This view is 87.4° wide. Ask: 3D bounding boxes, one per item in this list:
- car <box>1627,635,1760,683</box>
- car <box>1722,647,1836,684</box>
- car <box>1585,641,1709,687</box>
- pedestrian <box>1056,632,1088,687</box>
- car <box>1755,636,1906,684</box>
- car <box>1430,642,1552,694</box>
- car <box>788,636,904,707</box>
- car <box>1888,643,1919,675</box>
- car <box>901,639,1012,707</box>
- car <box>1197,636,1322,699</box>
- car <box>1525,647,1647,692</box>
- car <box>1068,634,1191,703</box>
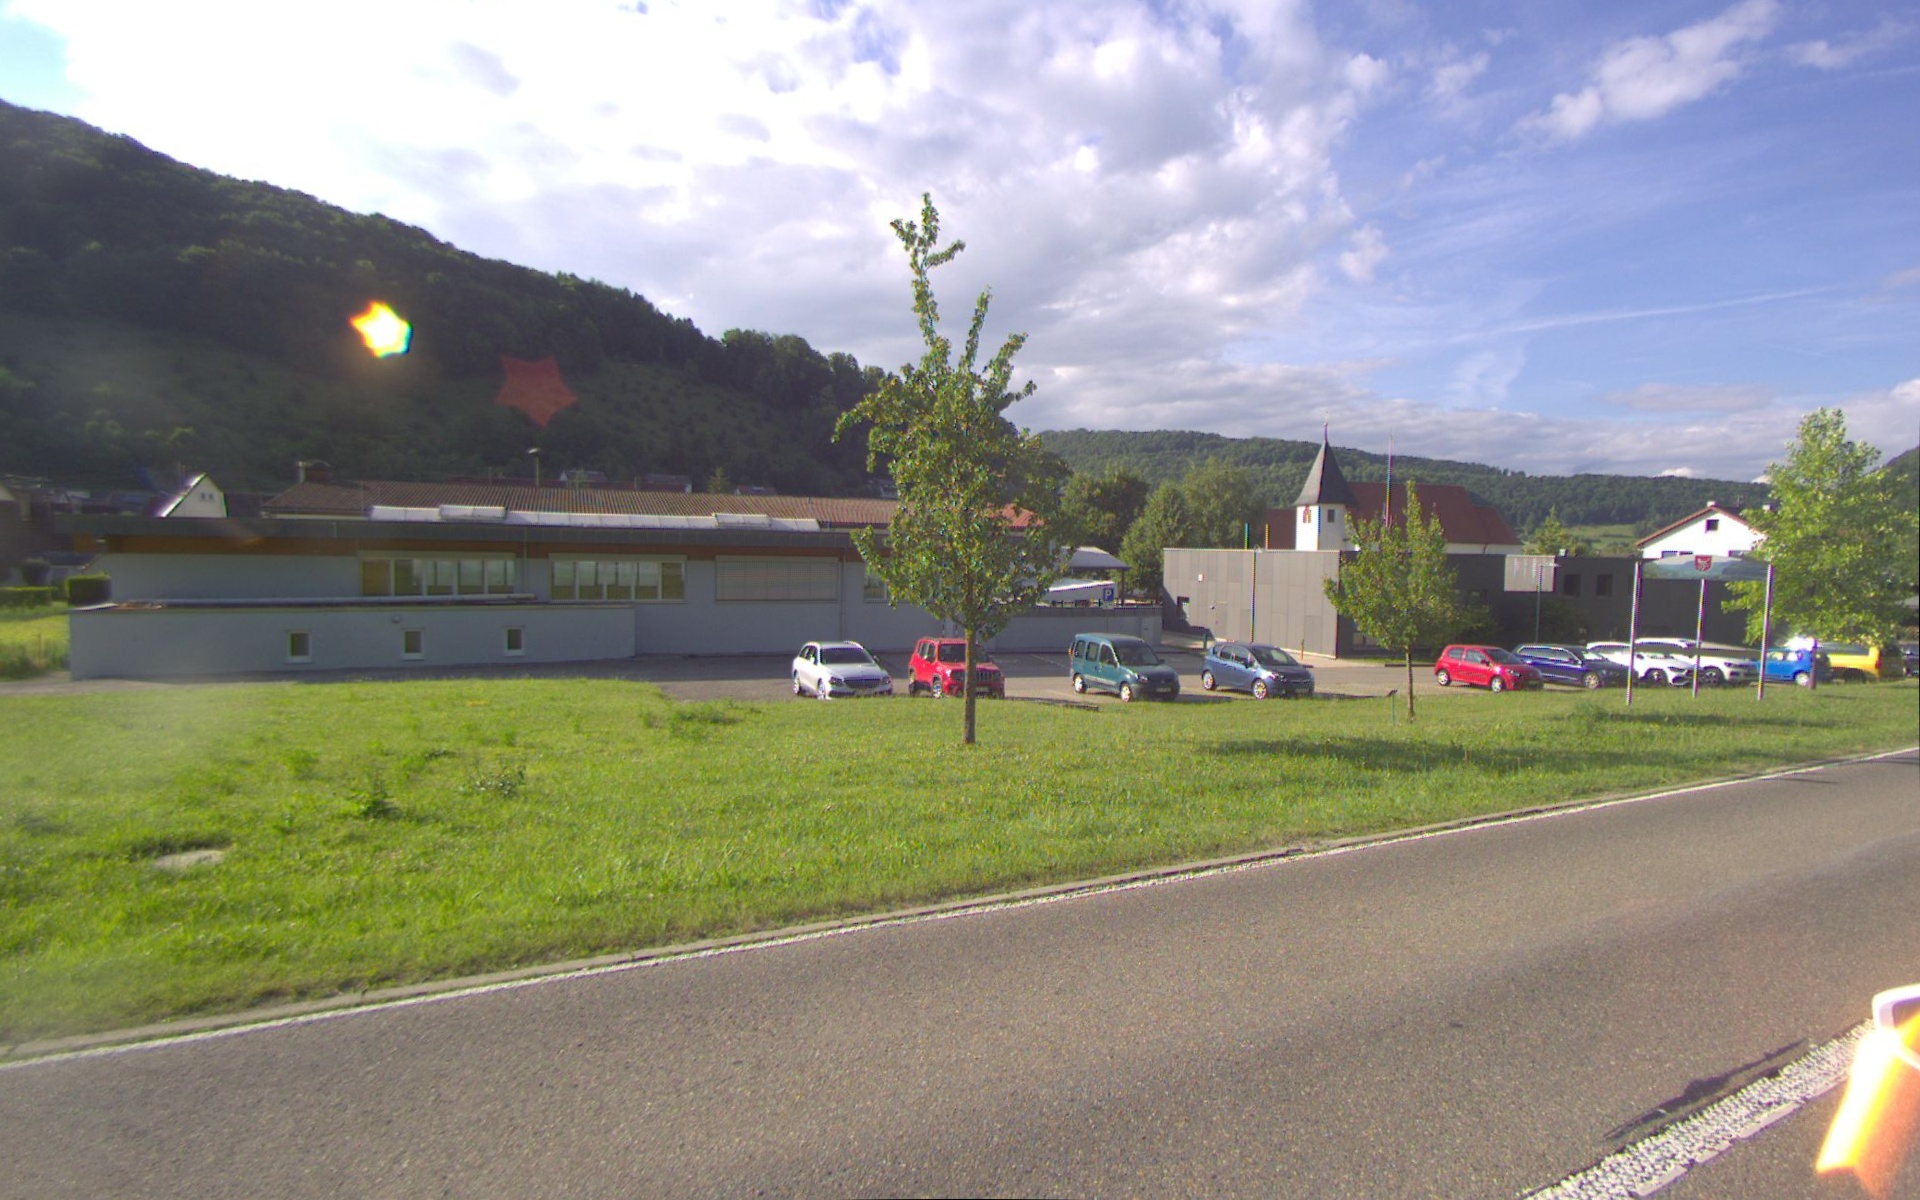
[{"bbox_3d":[28.797,2.281,39.605,1.572,1.695,4.071,1,-1,-20],"label":"car"},{"bbox_3d":[34.172,2.692,41.994,1.639,1.392,3.356,1,-1,-28],"label":"car"},{"bbox_3d":[25.905,2.375,37.998,1.572,1.514,3.661,-1,0,-20],"label":"car"},{"bbox_3d":[3.634,1.925,32.728,0.695,1.716,0.792,2,1,-23],"label":"pedestrian"},{"bbox_3d":[36.788,2.474,42.590,1.813,1.839,4.547,1,-1,-20],"label":"car"},{"bbox_3d":[18.391,2.315,34.962,1.623,1.463,3.619,0,1,-20],"label":"car"},{"bbox_3d":[-3.180,1.851,27.088,1.971,1.610,4.633,1,-1,-21],"label":"car"},{"bbox_3d":[45.700,2.785,46.530,1.486,1.458,3.707,1,-1,-20],"label":"car"},{"bbox_3d":[-0.185,1.935,27.450,1.730,1.600,3.913,1,-1,-21],"label":"car"},{"bbox_3d":[9.166,2.026,31.046,1.706,1.744,3.811,1,-1,-21],"label":"car"},{"bbox_3d":[22.936,2.503,36.925,1.572,1.424,3.619,0,-1,-20],"label":"car"},{"bbox_3d":[4.891,1.943,29.547,1.731,1.745,3.852,1,0,-23],"label":"car"}]
